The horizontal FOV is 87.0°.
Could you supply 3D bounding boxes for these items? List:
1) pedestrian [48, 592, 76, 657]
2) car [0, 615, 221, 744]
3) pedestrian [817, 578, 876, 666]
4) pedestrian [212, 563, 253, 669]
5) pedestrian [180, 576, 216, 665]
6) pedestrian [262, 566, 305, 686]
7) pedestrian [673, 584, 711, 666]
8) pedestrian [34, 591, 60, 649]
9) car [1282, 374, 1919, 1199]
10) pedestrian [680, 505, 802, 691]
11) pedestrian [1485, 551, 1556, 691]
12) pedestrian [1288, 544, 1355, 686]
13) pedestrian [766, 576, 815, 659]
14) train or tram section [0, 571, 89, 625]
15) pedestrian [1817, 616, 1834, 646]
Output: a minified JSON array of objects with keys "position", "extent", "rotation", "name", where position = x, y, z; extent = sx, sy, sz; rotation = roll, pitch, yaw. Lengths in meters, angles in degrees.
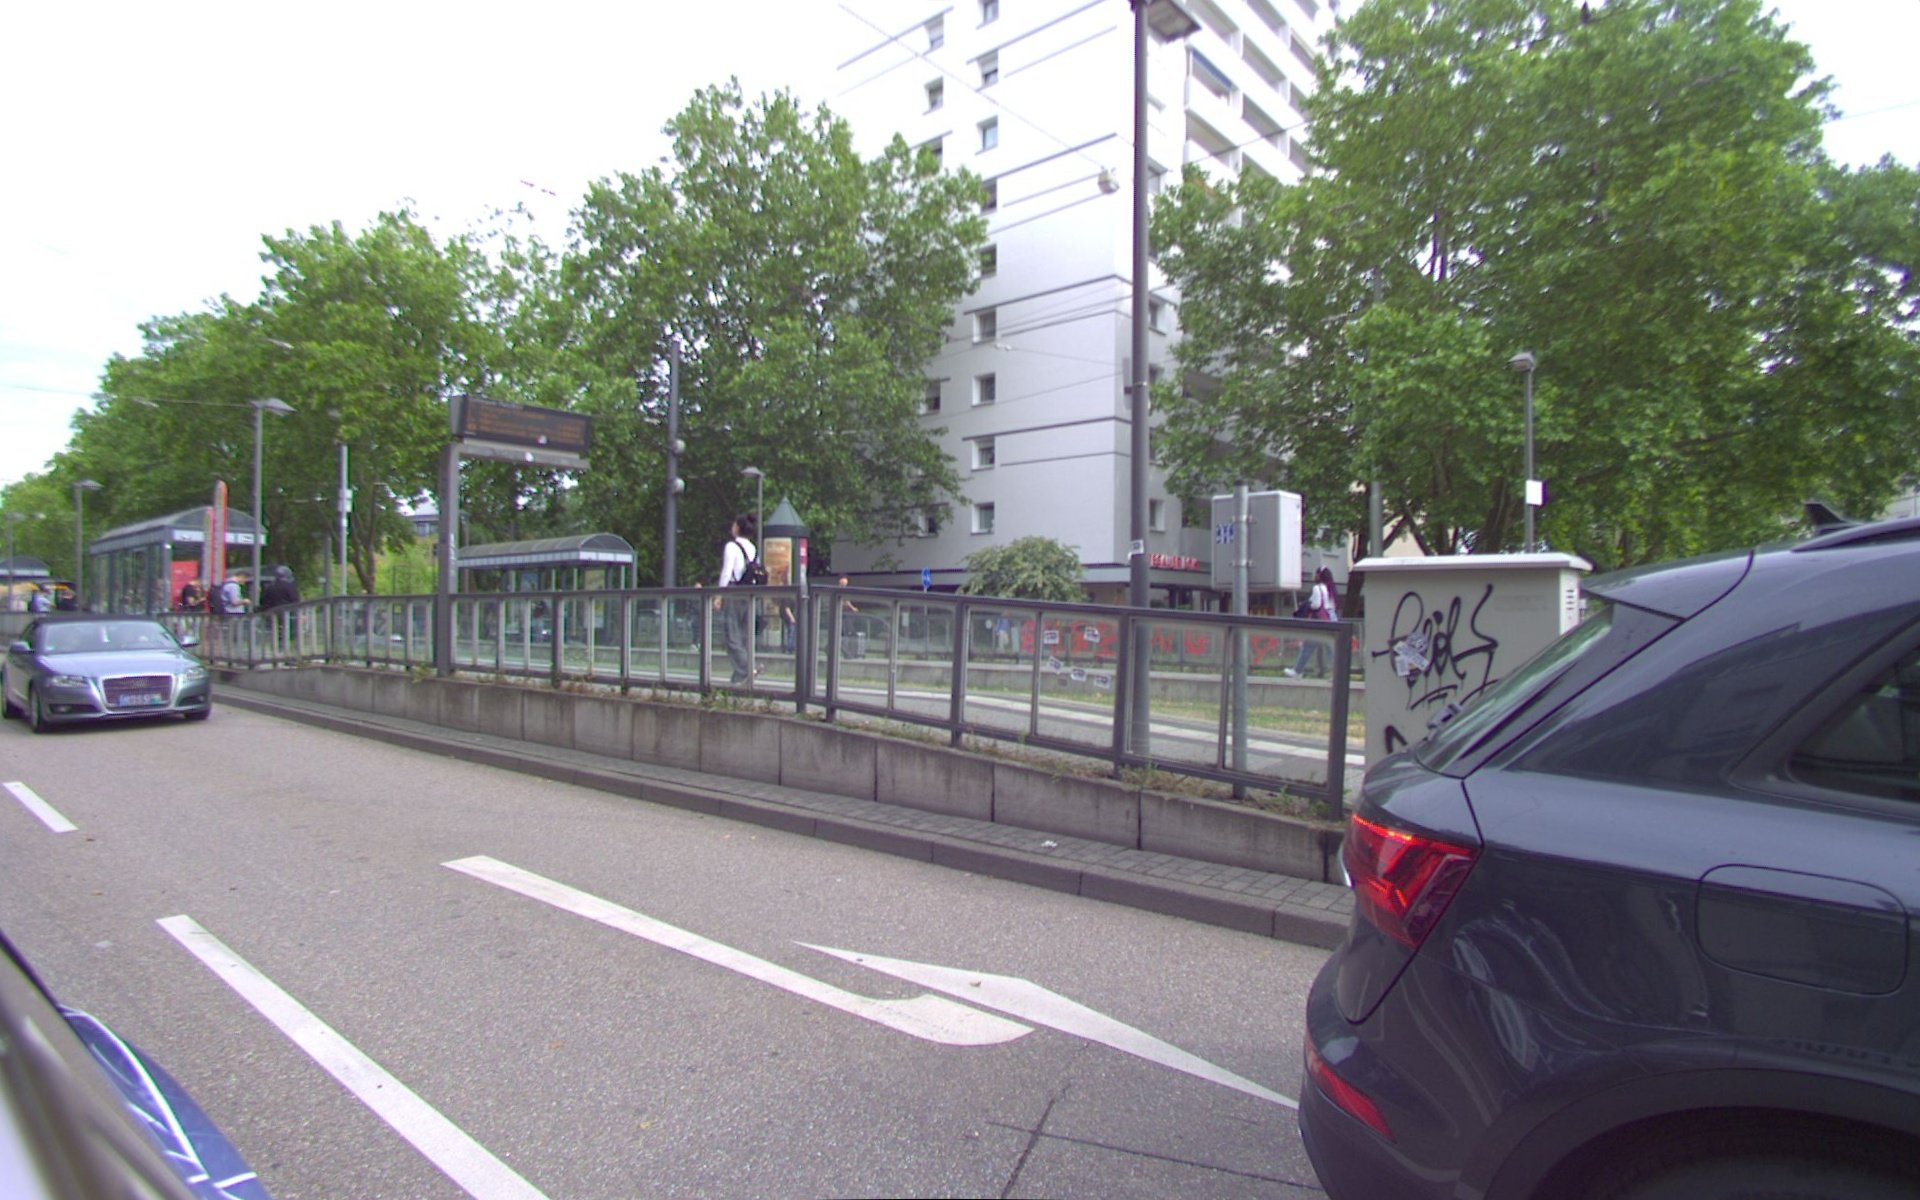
[{"position":[-25.562,0.698,28.817],"extent":[0.523,1.818,0.607],"rotation":[-1,0,-35],"name":"pedestrian"},{"position":[-11.248,0.910,13.244],"extent":[4.097,1.398,1.694],"rotation":[-1,0,41],"name":"car"},{"position":[-2.359,0.447,21.101],"extent":[0.850,1.769,0.871],"rotation":[-1,0,41],"name":"pedestrian"},{"position":[-12.699,0.270,17.664],"extent":[0.605,1.818,0.469],"rotation":[-1,0,45],"name":"pedestrian"},{"position":[-15.918,0.423,21.157],"extent":[0.467,1.818,0.607],"rotation":[-1,0,-24],"name":"pedestrian"},{"position":[-10.522,0.393,15.737],"extent":[0.513,1.818,0.606],"rotation":[-1,0,-37],"name":"pedestrian"},{"position":[-6.476,0.601,24.490],"extent":[0.553,1.945,0.690],"rotation":[-1,0,41],"name":"pedestrian"},{"position":[-29.032,0.629,32.179],"extent":[0.523,1.818,0.607],"rotation":[-1,0,-35],"name":"pedestrian"},{"position":[2.697,0.537,0.968],"extent":[4.225,1.649,1.715],"rotation":[-1,0,41],"name":"car"},{"position":[-2.116,-0.019,9.741],"extent":[0.979,1.683,0.711],"rotation":[-1,0,44],"name":"pedestrian"},{"position":[7.384,0.266,13.320],"extent":[0.666,1.763,0.728],"rotation":[-1,0,41],"name":"pedestrian"},{"position":[5.186,0.213,14.513],"extent":[0.666,1.965,0.728],"rotation":[-1,0,41],"name":"pedestrian"},{"position":[-3.910,0.394,23.328],"extent":[0.666,1.848,0.871],"rotation":[-1,0,41],"name":"pedestrian"},{"position":[-69.780,-0.078,76.981],"extent":[15.196,3.781,3.295],"rotation":[-1,0,41],"name":"train or tram section"},{"position":[59.962,2.159,70.130],"extent":[0.670,2.029,0.666],"rotation":[-1,0,21],"name":"pedestrian"}]
